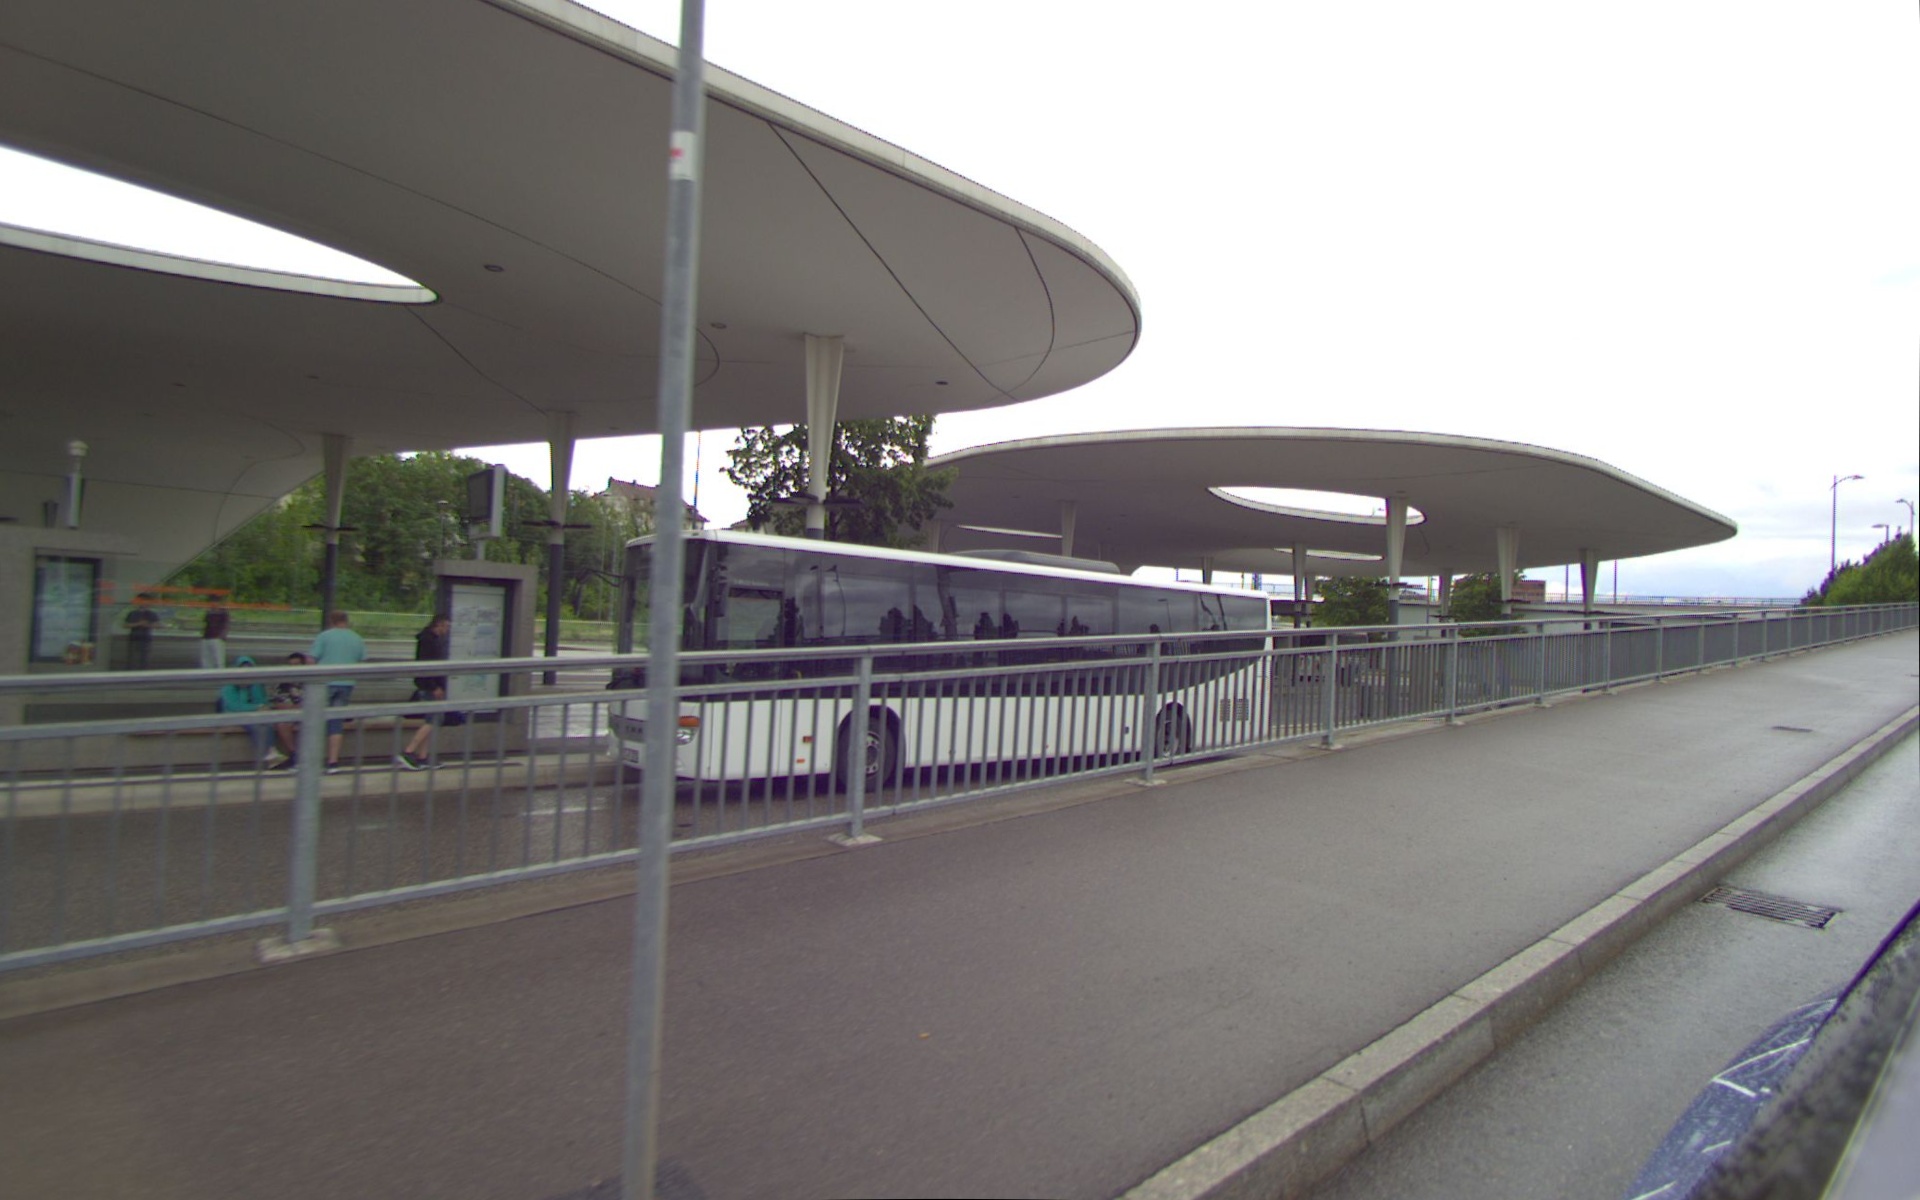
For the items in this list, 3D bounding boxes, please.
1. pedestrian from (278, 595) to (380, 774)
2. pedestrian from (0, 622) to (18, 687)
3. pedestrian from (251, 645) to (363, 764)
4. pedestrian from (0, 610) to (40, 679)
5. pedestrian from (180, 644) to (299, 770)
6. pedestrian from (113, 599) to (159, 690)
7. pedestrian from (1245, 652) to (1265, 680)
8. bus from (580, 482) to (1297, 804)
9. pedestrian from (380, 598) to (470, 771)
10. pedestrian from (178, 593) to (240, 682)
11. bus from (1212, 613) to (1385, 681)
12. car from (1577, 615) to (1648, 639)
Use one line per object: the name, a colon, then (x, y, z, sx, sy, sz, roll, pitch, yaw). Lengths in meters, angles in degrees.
pedestrian: (-7.090, 0.935, 11.377, 0.581, 1.911, 0.641, 3, -2, 31)
pedestrian: (-16.704, 0.946, 17.530, 0.345, 1.094, 0.392, 3, 0, 1)
pedestrian: (-7.809, 1.223, 12.107, 0.944, 1.271, 0.643, 5, 0, 26)
pedestrian: (-16.306, 0.757, 17.508, 0.357, 1.159, 0.396, 3, 0, 1)
pedestrian: (-8.219, 1.194, 11.548, 0.944, 1.271, 0.643, 5, 0, 26)
pedestrian: (-15.587, 0.837, 19.162, 0.546, 1.675, 0.571, 3, 0, -35)
pedestrian: (12.844, 2.855, 44.066, 0.659, 1.178, 0.535, -1, -2, -44)
bus: (0.750, 0.844, 15.806, 12.205, 3.407, 2.848, 5, -5, -41)
pedestrian: (-6.289, 0.975, 11.898, 0.584, 1.928, 0.638, 2, -2, 43)
pedestrian: (-14.707, 0.727, 19.825, 0.632, 1.675, 0.638, 3, 0, 10)
bus: (19.841, 2.606, 58.819, 11.909, 3.299, 2.797, -1, -1, -34)
car: (54.616, 2.240, 84.769, 2.079, 1.993, 4.673, 2, -2, -43)
